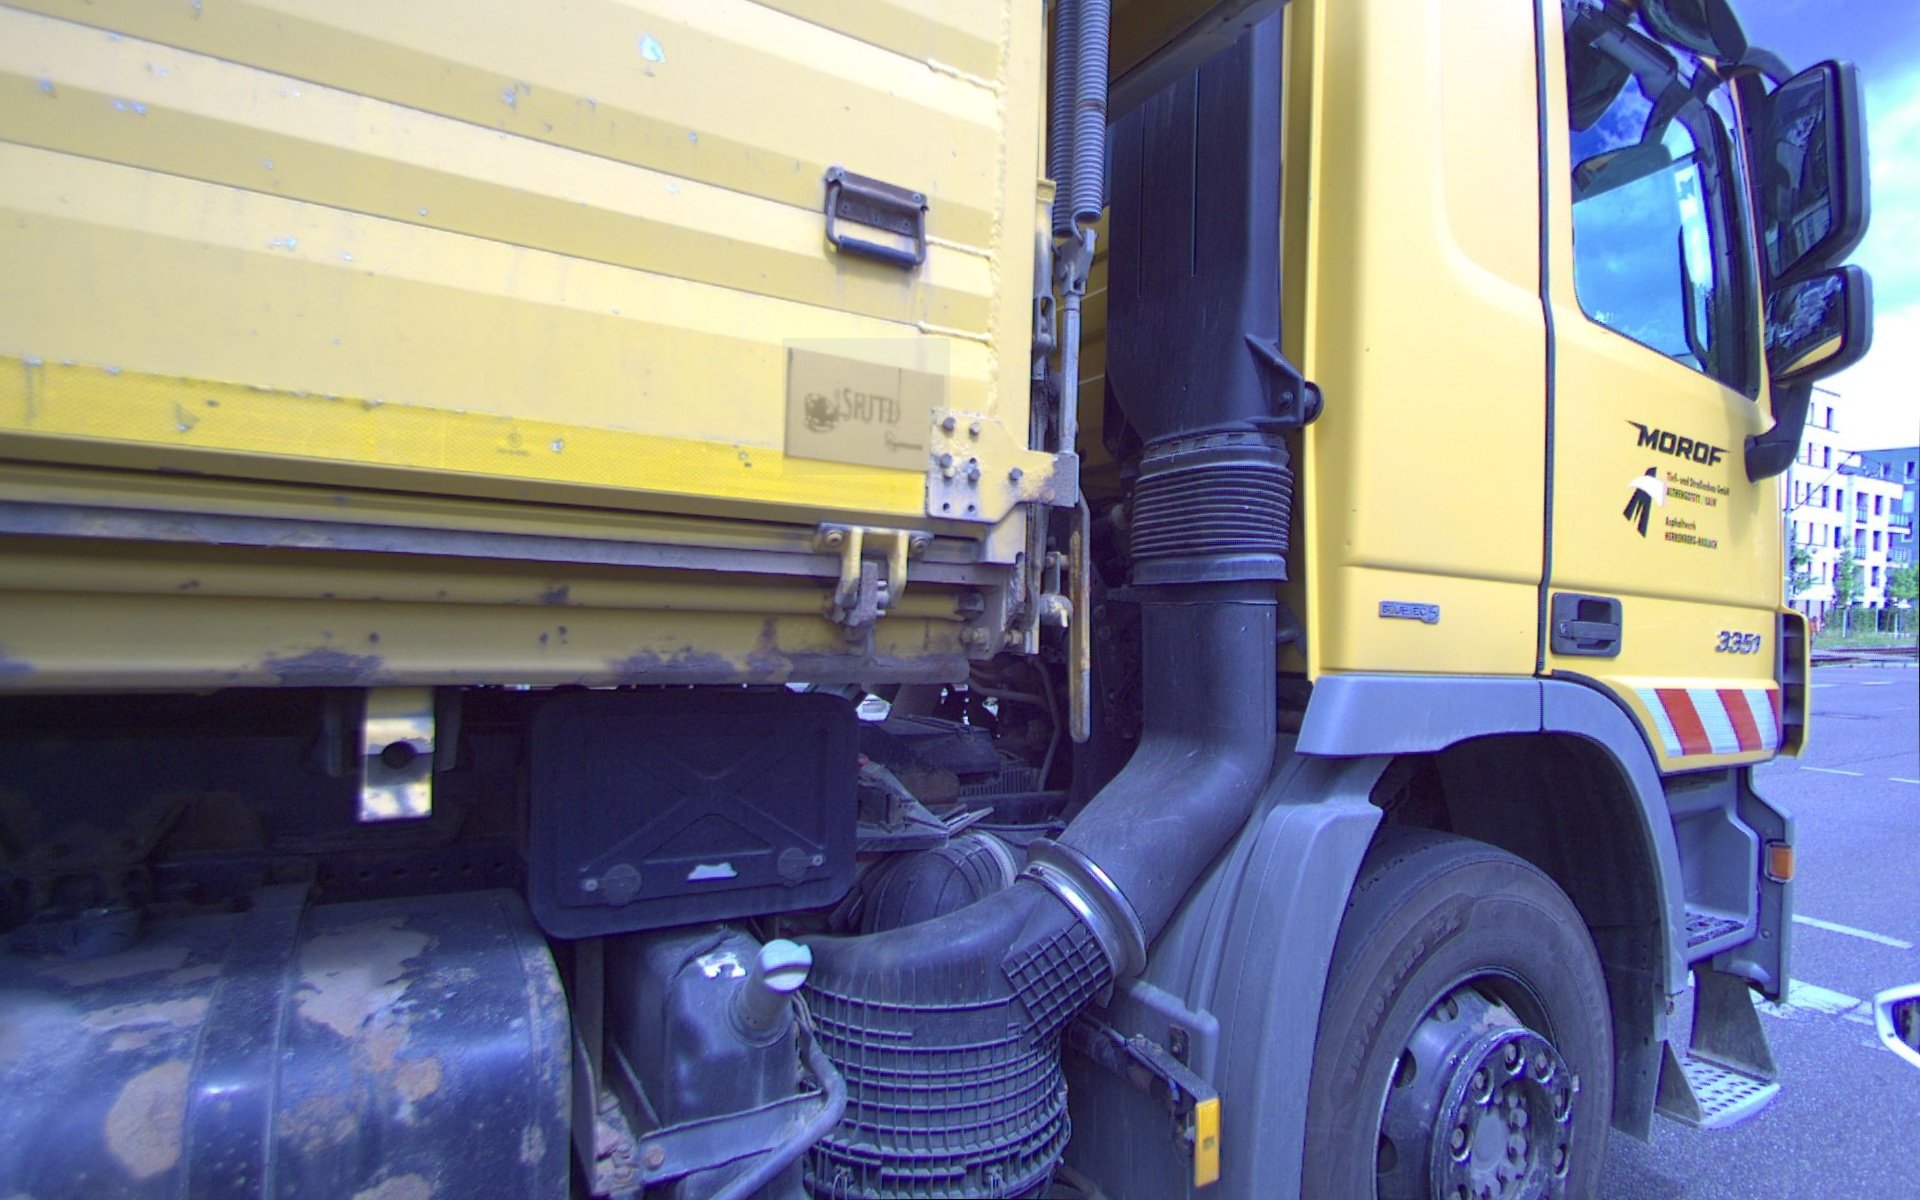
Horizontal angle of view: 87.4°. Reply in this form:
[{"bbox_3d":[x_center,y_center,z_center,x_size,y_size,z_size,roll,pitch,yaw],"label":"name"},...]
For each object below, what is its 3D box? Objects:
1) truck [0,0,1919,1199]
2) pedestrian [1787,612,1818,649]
[{"bbox_3d":[-1.653,-0.233,1.614,7.916,3.439,3.033,1,0,-32],"label":"truck"},{"bbox_3d":[35.552,1.268,42.398,0.628,1.536,0.827,1,0,-30],"label":"pedestrian"}]
